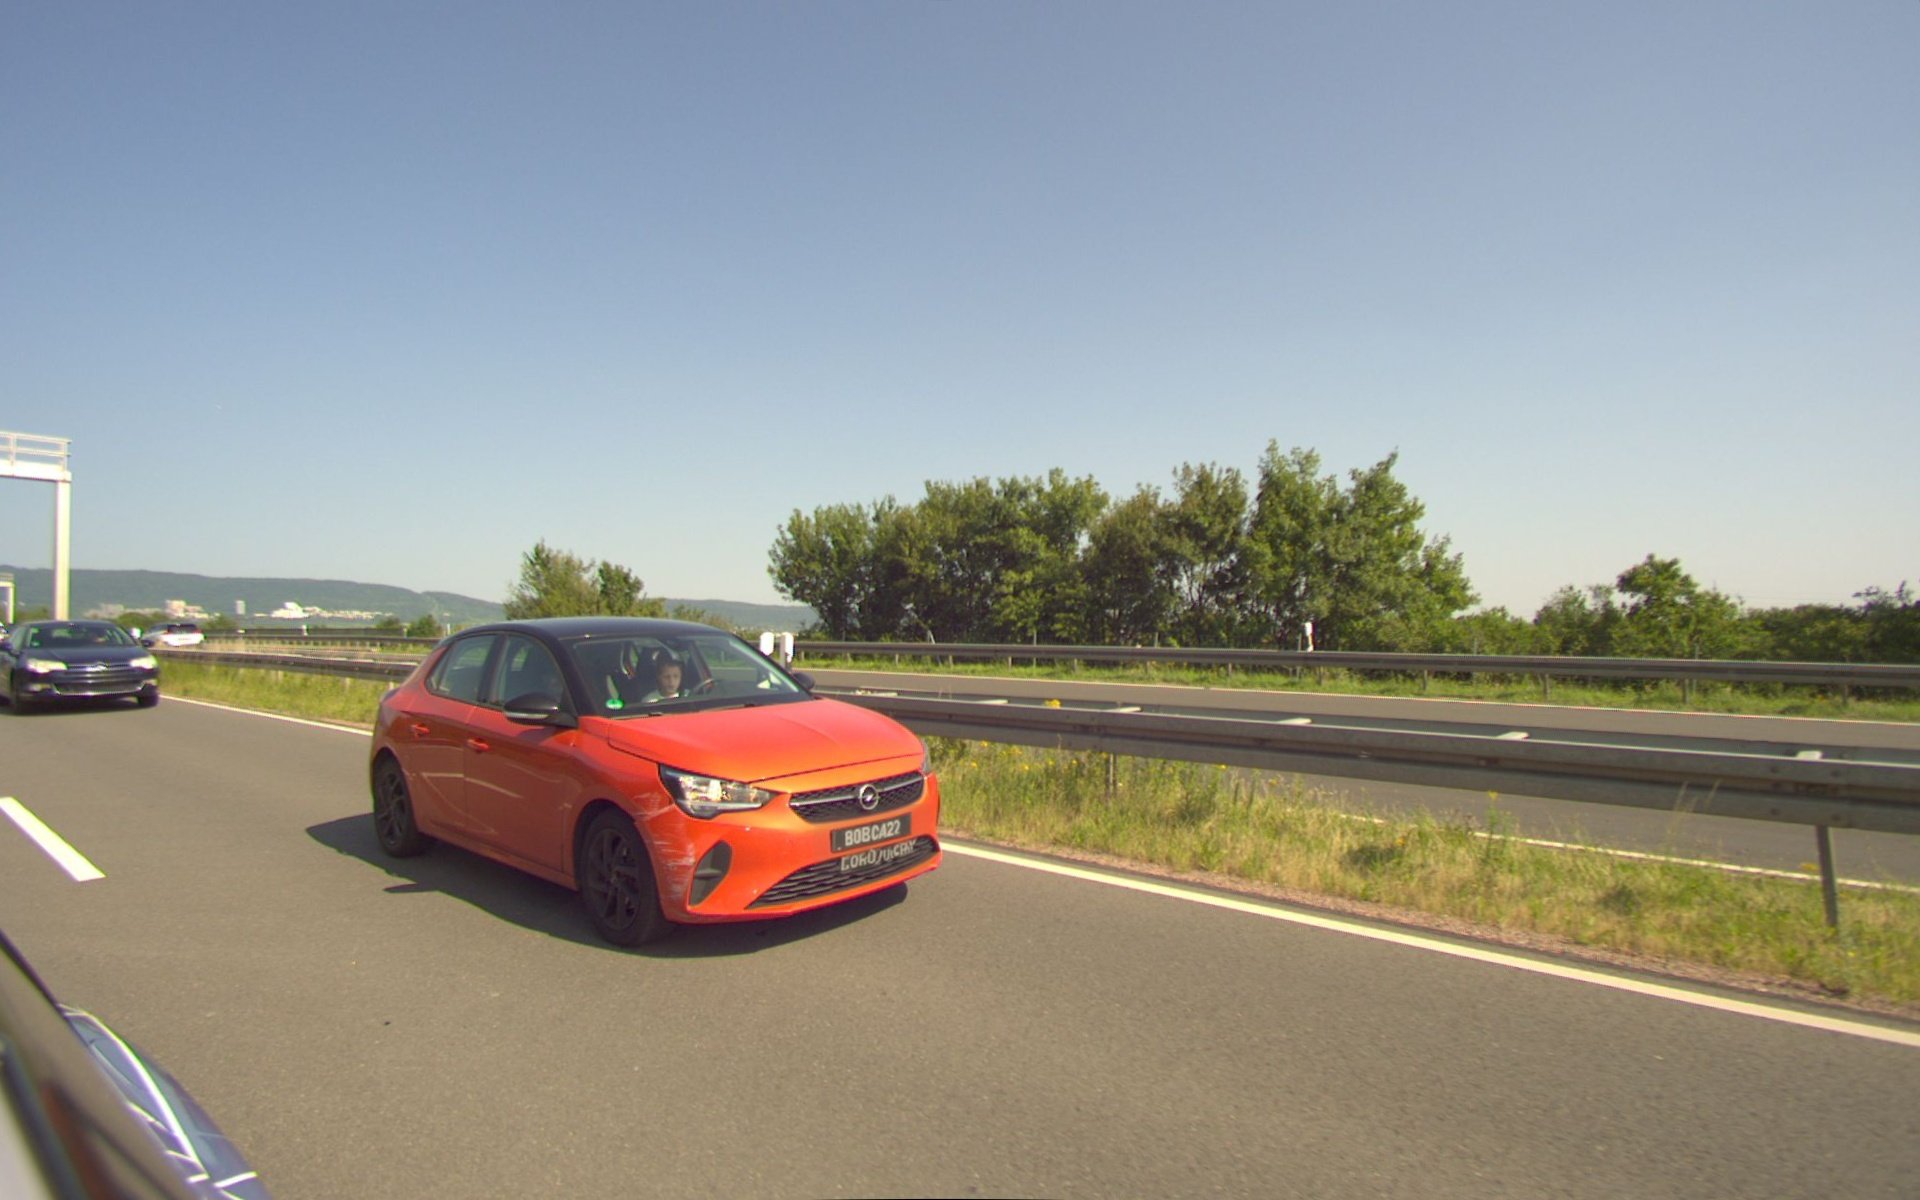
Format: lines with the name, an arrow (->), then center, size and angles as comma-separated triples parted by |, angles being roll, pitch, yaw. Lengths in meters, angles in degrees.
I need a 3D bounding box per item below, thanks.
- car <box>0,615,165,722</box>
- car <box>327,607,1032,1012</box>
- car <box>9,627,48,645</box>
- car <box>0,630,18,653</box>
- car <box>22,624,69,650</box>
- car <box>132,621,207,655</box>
car -> -15.012, 1.079, 17.012 | 4.372, 1.545, 1.765 | -2, -1, 40
car -> -1.871, 0.805, 5.747 | 4.409, 1.448, 1.691 | -2, -1, 41
car -> -69.495, 2.672, 75.523 | 3.710, 1.279, 1.551 | -2, -2, 38
car -> -81.366, 3.486, 85.442 | 4.410, 1.920, 1.975 | -2, -2, 37
car -> -59.874, 2.404, 66.234 | 3.999, 1.629, 1.715 | -2, -2, 40
car -> -40.645, 1.919, 52.015 | 4.620, 1.632, 1.884 | -2, -1, 36
